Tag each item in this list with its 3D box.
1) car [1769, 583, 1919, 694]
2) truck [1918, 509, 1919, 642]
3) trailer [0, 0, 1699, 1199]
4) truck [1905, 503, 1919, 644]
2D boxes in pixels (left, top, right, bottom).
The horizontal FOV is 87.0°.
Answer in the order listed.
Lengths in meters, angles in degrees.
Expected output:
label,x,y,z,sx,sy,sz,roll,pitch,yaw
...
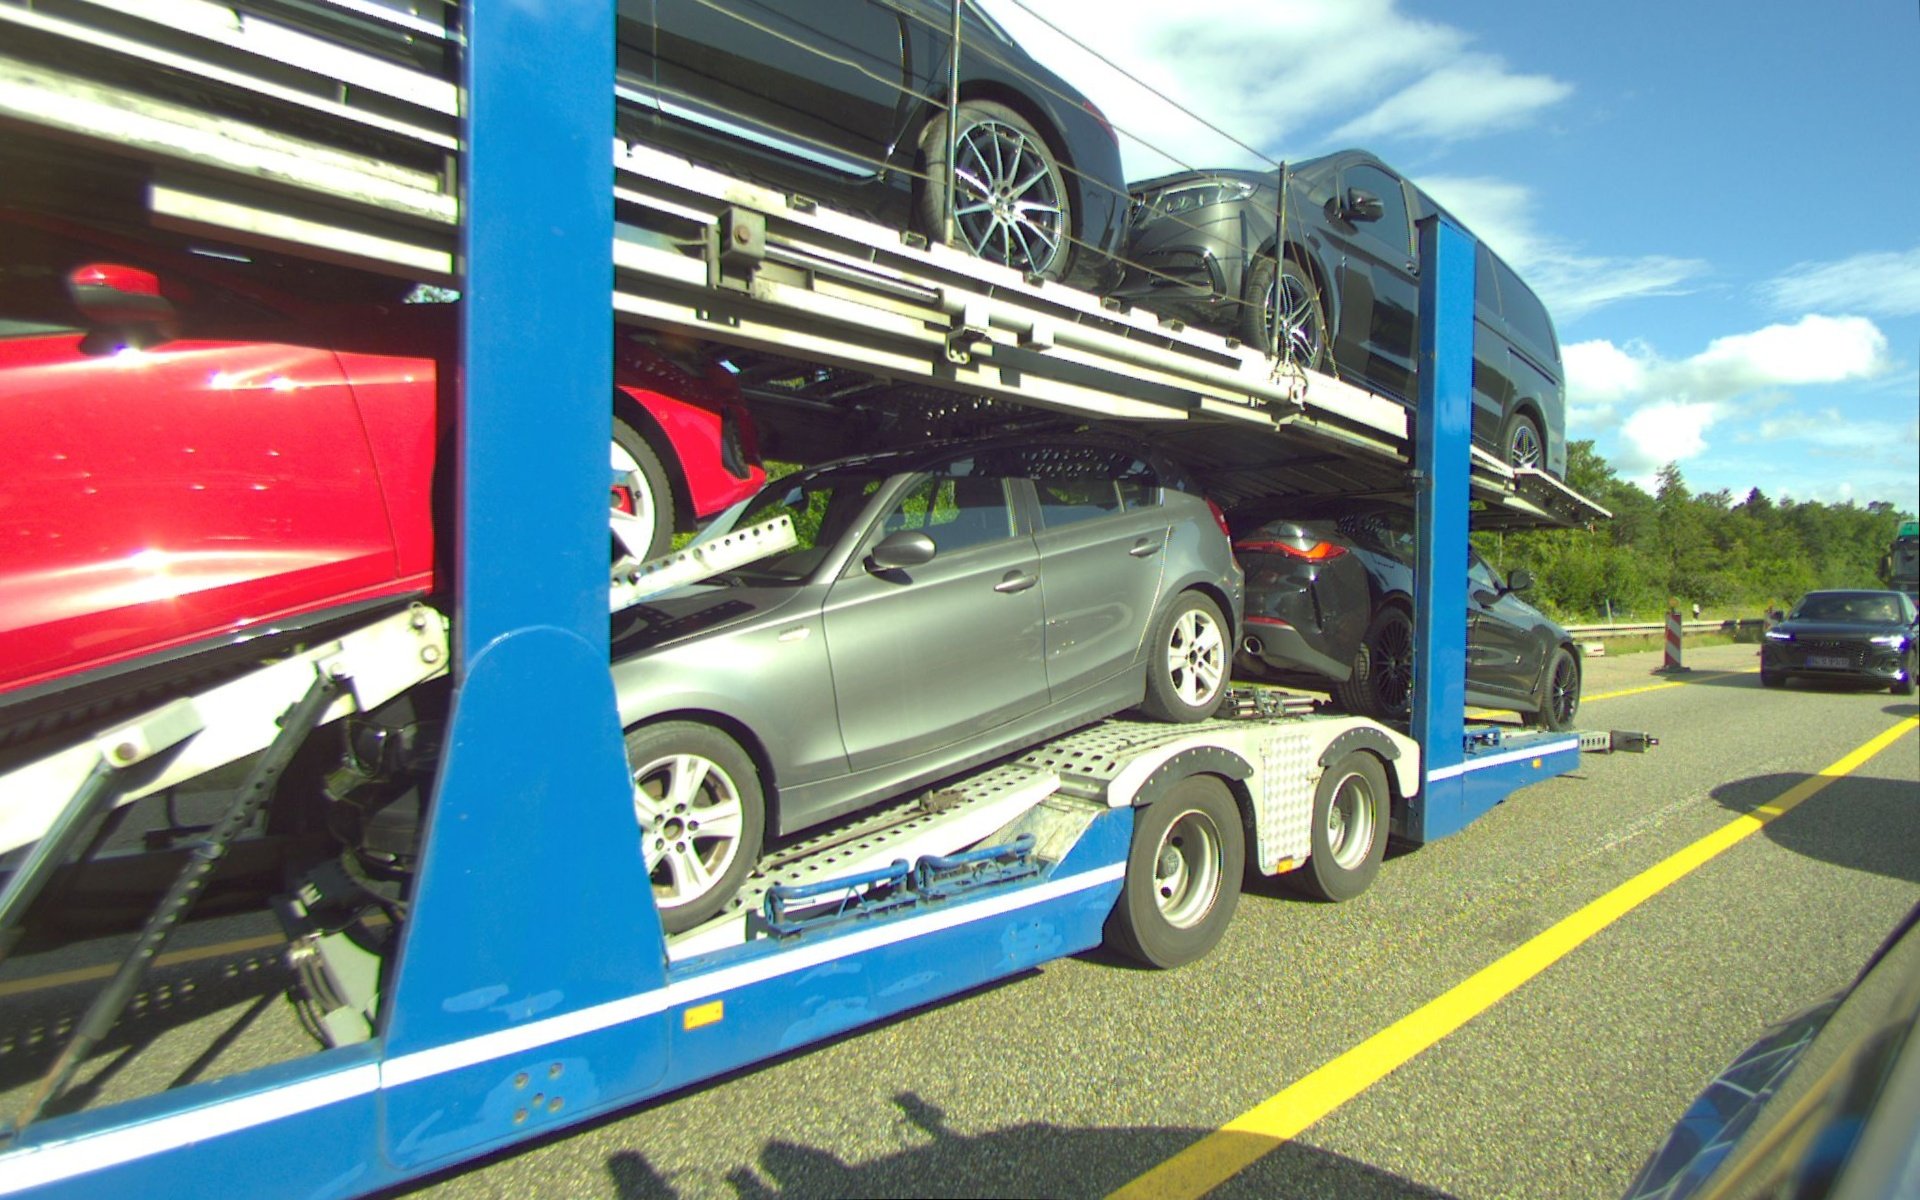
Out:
label,x,y,z,sx,sy,sz,roll,pitch,yaw
car,15.166,0.540,16.973,4.219,1.622,1.781,-1,1,-41
truck,36.407,-0.926,35.587,13.961,4.195,2.469,-2,1,-40
trailer,-1.307,-0.832,4.370,15.943,4.249,3.733,-1,0,-41
truck,31.537,-0.814,31.427,6.737,4.151,2.526,-1,0,-41
